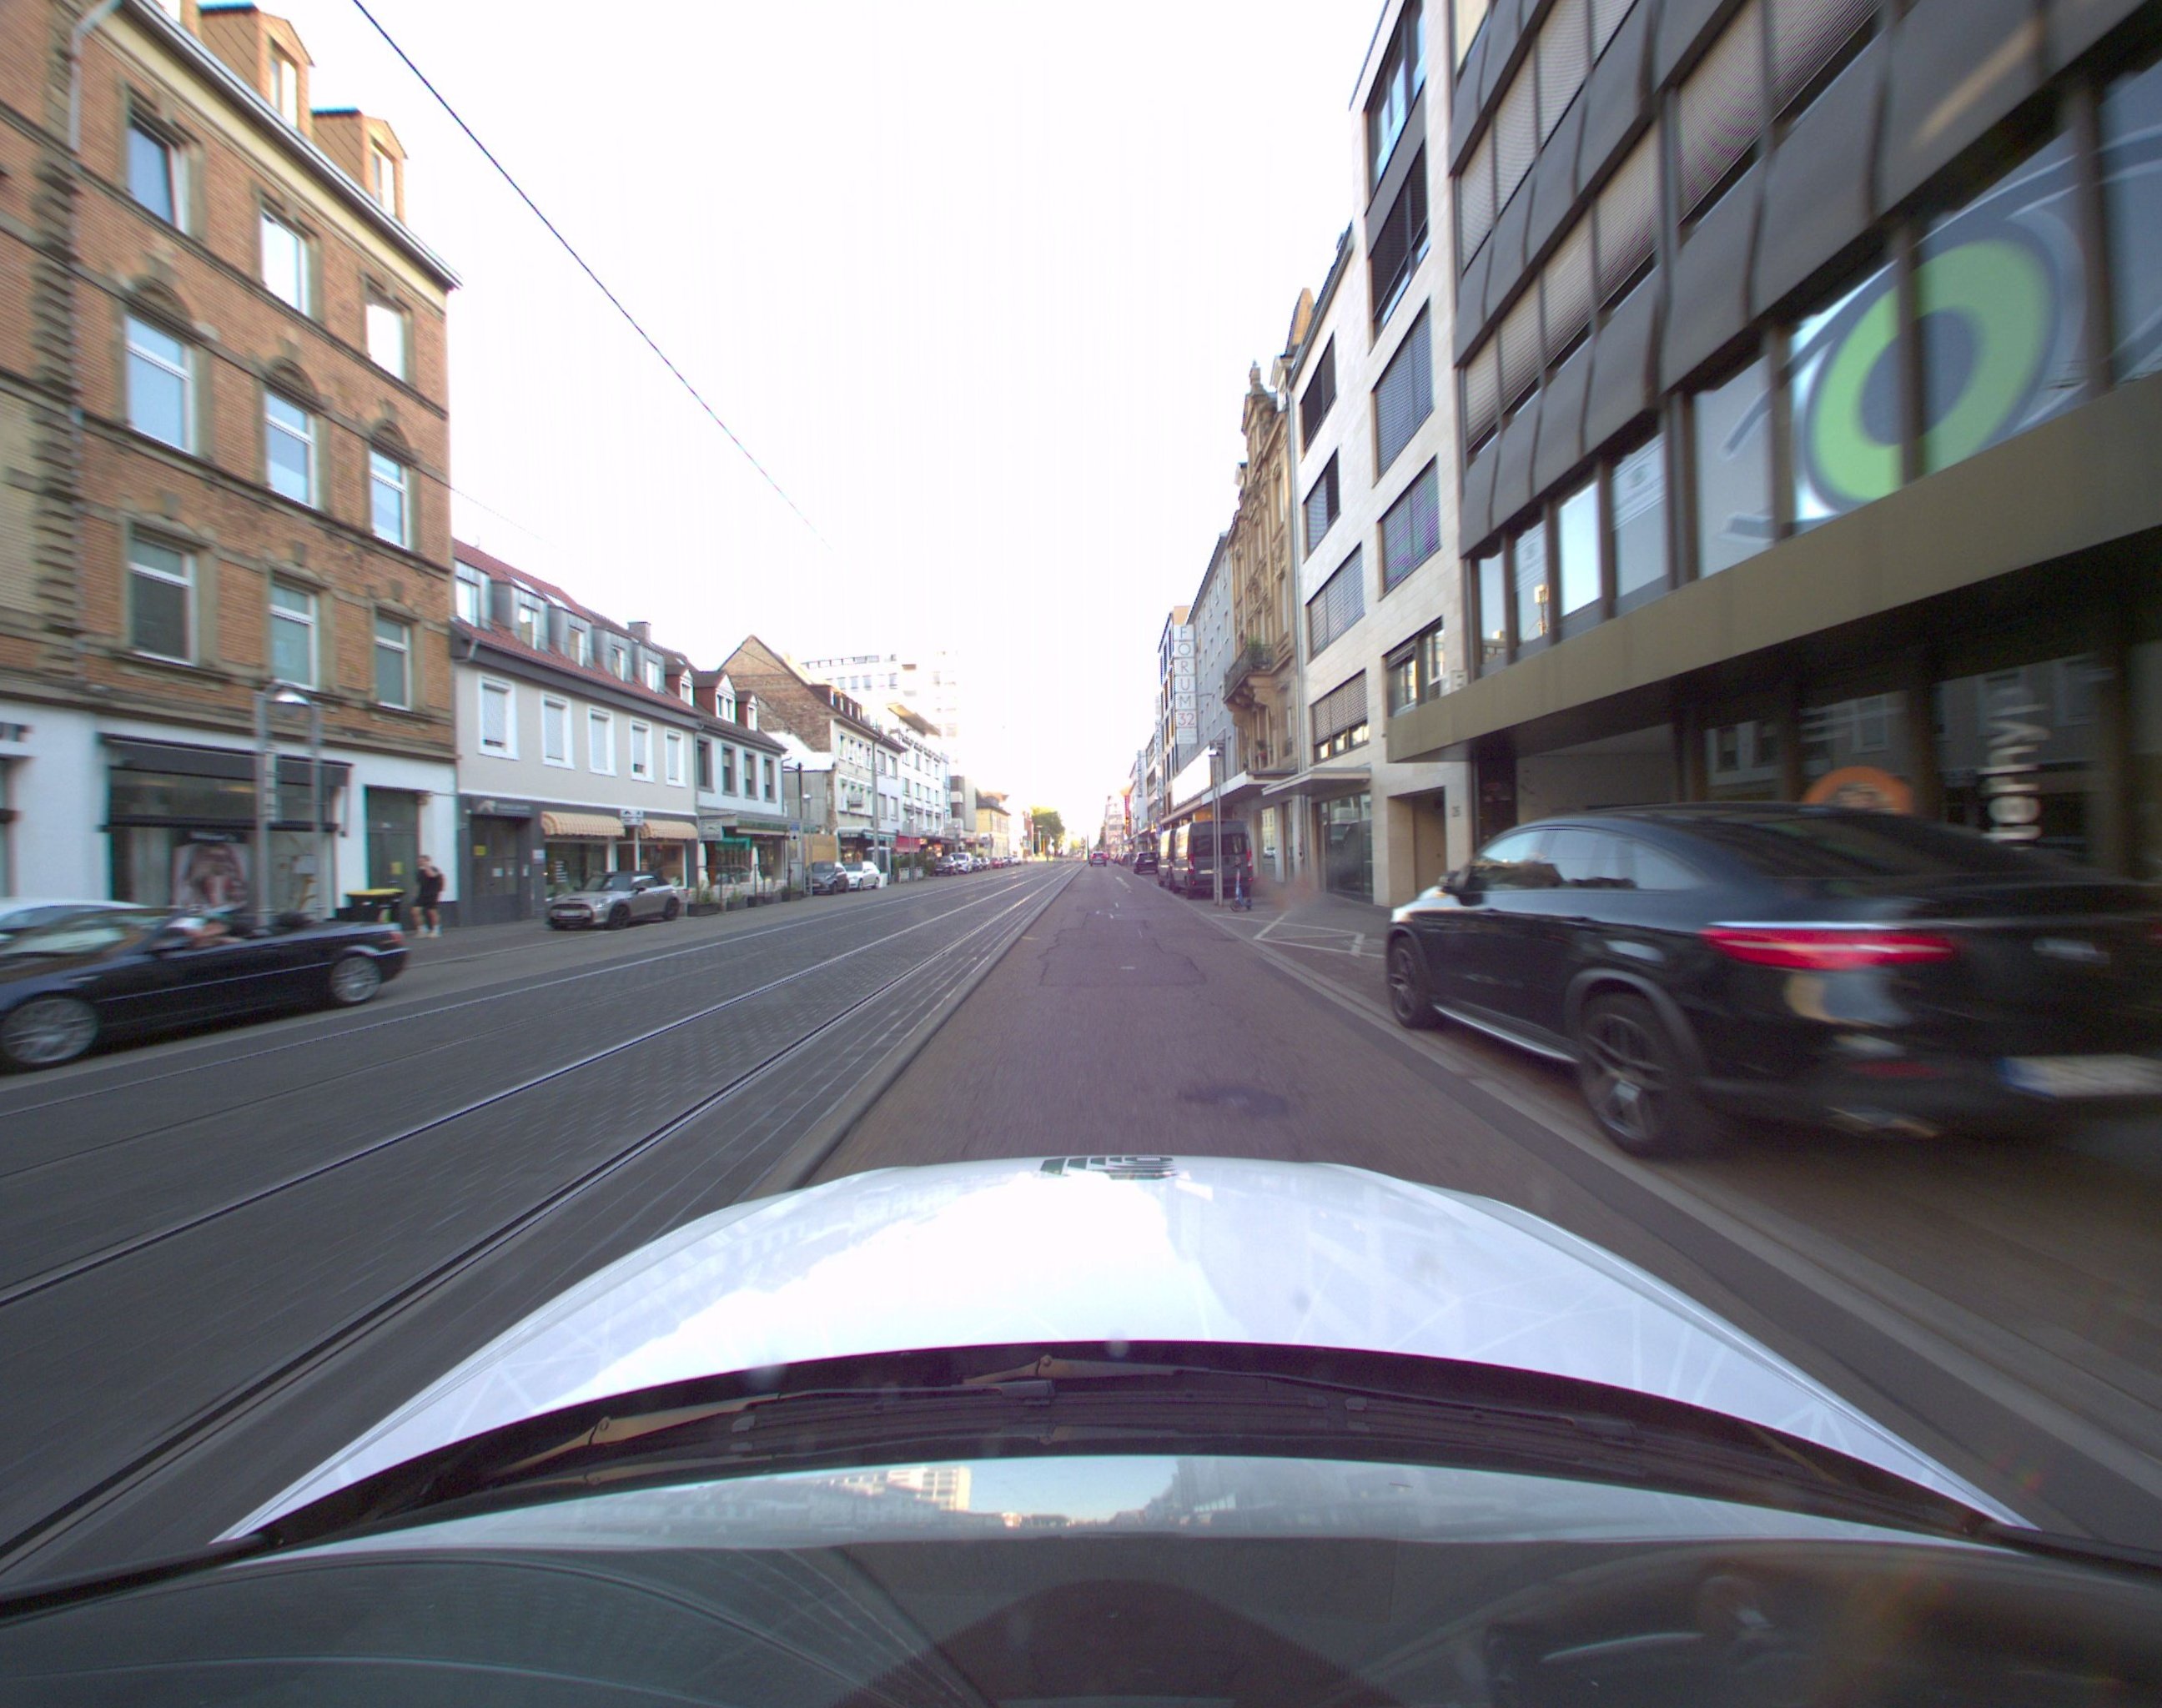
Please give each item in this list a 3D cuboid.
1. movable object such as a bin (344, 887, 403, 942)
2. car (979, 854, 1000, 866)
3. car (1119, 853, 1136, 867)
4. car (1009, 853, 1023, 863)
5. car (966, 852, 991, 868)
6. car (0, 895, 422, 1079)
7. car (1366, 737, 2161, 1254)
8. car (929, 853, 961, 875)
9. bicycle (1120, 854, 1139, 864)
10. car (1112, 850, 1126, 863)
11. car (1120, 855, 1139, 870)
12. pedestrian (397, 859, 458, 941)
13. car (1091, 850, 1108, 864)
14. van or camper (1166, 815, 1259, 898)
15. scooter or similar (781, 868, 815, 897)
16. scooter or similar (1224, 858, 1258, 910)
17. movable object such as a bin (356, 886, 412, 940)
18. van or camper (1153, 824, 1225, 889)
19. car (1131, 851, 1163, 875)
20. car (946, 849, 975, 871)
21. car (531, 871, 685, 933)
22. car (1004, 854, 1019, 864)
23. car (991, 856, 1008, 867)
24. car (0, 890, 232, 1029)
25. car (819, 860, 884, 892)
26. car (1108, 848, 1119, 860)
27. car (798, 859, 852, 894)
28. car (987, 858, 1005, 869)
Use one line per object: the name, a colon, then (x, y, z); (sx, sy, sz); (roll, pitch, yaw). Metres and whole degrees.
movable object such as a bin: (-15.300, 1.295, 17.616); (0.588, 1.131, 0.729); (-2, 0, 1)
car: (-10.211, 0.651, 91.021); (1.785, 1.339, 3.891); (1, 0, 0)
car: (5.845, 0.757, 102.080); (1.936, 1.545, 4.546); (-4, 0, 2)
car: (-9.967, 0.641, 125.377); (1.785, 1.449, 3.891); (1, 0, 0)
car: (-10.629, 0.599, 84.728); (1.911, 1.521, 4.630); (1, 0, 0)
car: (-9.230, 1.185, 8.155); (1.661, 1.228, 4.274); (-4, 0, 1)
car: (3.600, 0.470, 5.191); (1.976, 1.734, 4.673); (-4, 0, 2)
car: (-11.498, 0.804, 69.114); (1.910, 1.763, 4.431); (1, 0, 1)
bicycle: (5.466, 0.546, 91.972); (2.113, 1.090, 0.591); (-2, 0, -2)
car: (5.477, 0.329, 117.195); (1.936, 1.703, 4.546); (-4, 0, 2)
car: (5.658, 0.969, 95.566); (1.936, 1.545, 4.546); (-4, 0, 2)
pedestrian: (-14.551, 1.005, 18.145); (0.645, 1.772, 0.855); (0, 0, 1)
car: (2.147, 0.287, 94.968); (1.936, 1.545, 4.546); (-1, 0, 2)
van or camper: (4.420, 0.083, 28.378); (2.181, 2.426, 6.133); (-4, 0, 1)
scooter or similar: (-11.955, 1.182, 34.397); (1.309, 1.205, 0.294); (0, 0, 1)
scooter or similar: (4.060, 0.750, 20.609); (0.350, 1.224, 1.123); (-4, 0, 34)
movable object such as a bin: (-15.707, 1.324, 18.359); (0.588, 1.131, 0.729); (-2, 0, 1)
van or camper: (4.491, 0.095, 34.784); (2.182, 2.426, 5.516); (-4, 0, 0)
car: (4.631, 0.614, 57.594); (1.936, 1.545, 4.546); (-4, 0, 2)
car: (-11.327, 0.555, 76.789); (1.910, 1.936, 4.843); (1, 0, 1)
car: (-12.381, 1.192, 21.620); (1.727, 1.389, 3.866); (1, 0, 2)
car: (-10.173, 0.728, 119.354); (1.785, 1.449, 3.891); (1, 0, 0)
car: (-10.571, 0.976, 105.970); (1.785, 1.339, 3.891); (1, 0, 0)
car: (-12.655, 1.208, 9.143); (1.754, 1.389, 4.272); (1, 0, -1)
car: (-11.744, 1.094, 42.069); (1.842, 1.504, 4.843); (1, 0, 1)
car: (6.204, 0.028, 155.691); (1.936, 2.145, 4.546); (-4, 0, 2)
car: (-11.758, 1.017, 37.548); (1.586, 1.504, 2.812); (1, 0, 0)
car: (-10.535, 1.149, 100.738); (1.785, 1.339, 3.891); (1, 0, 0)
